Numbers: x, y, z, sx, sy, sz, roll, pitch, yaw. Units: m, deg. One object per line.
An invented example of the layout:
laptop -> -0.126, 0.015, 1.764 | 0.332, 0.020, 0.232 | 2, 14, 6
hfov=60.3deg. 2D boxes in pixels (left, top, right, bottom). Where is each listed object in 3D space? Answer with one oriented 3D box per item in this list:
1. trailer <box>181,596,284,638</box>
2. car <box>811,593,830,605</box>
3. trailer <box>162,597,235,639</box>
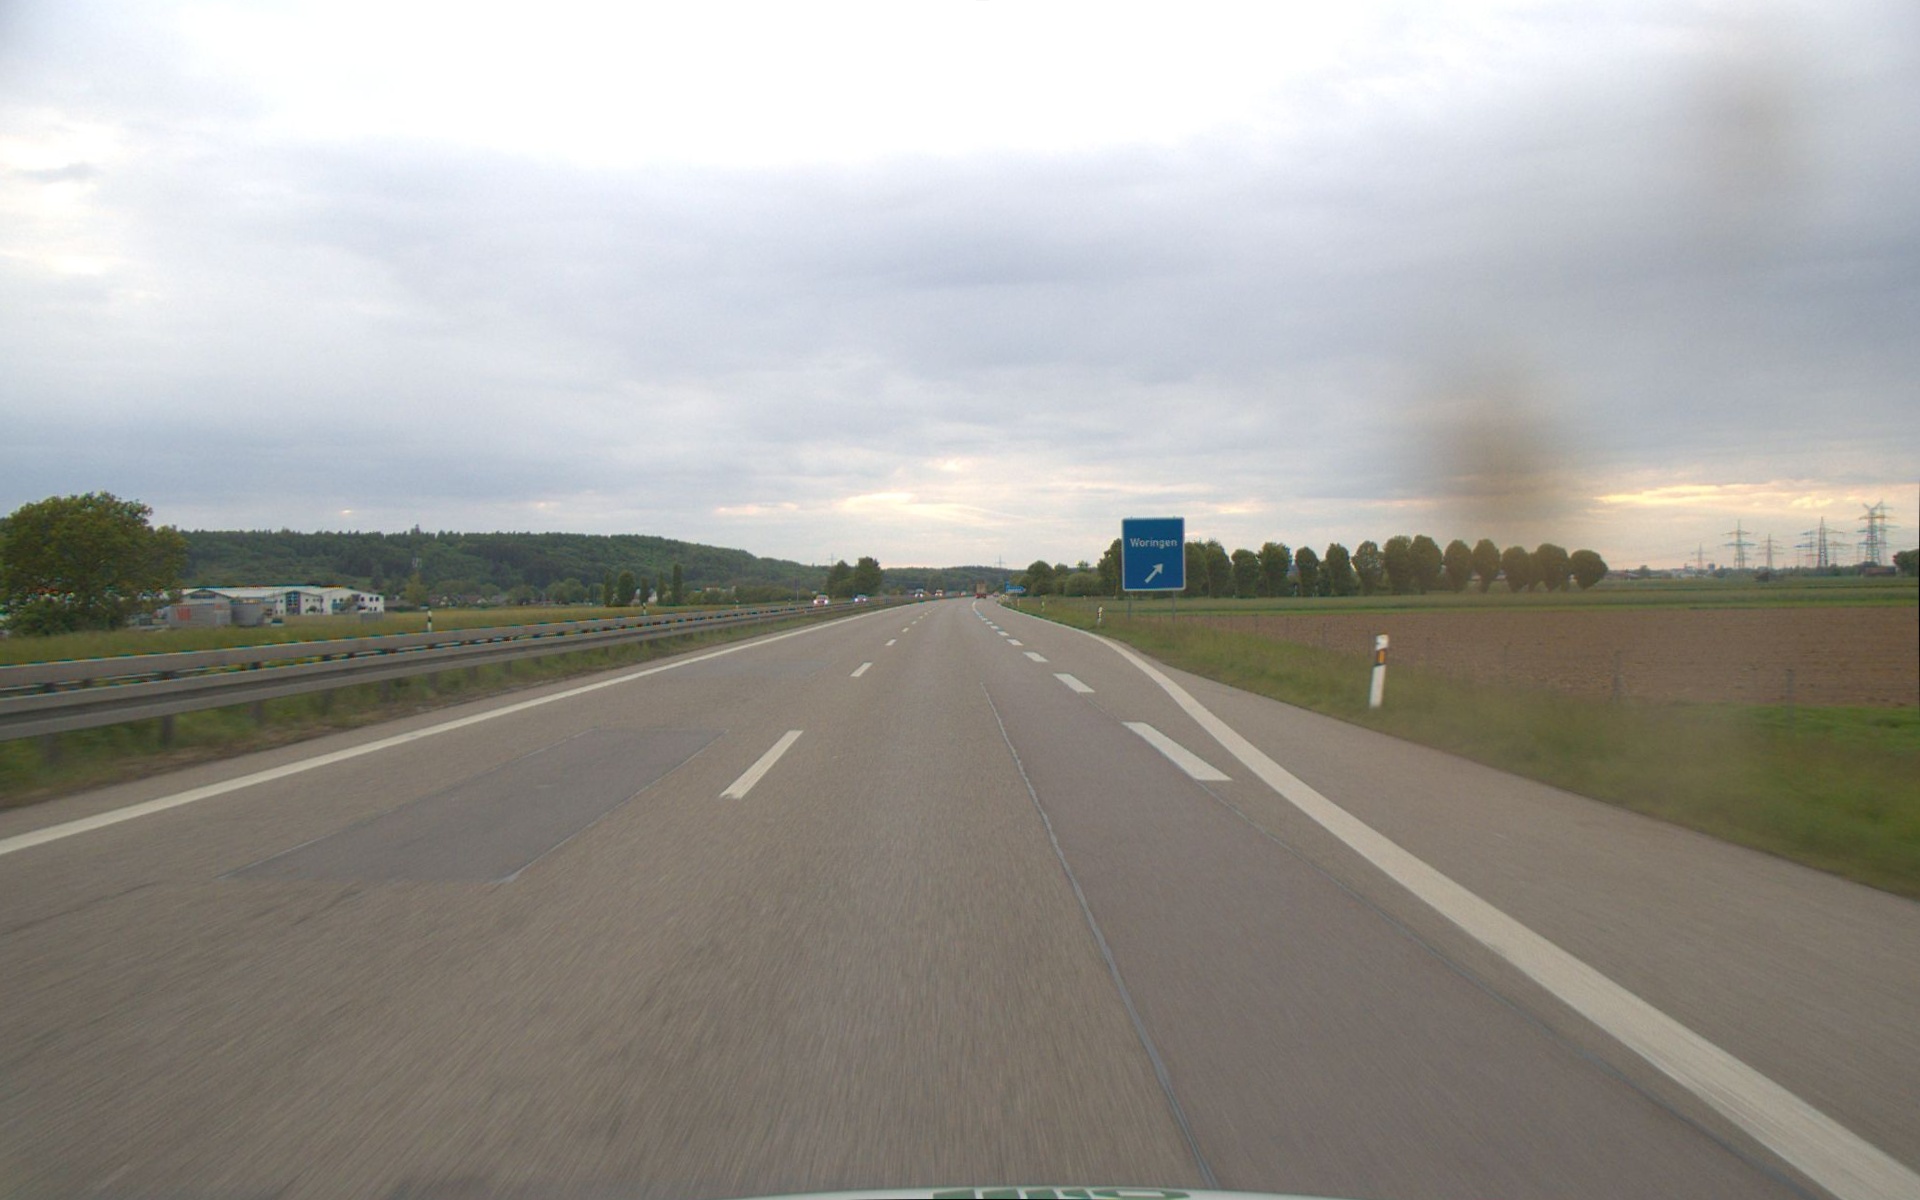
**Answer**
trailer -> -98.950, 2.283, 224.733 | 16.657, 5.225, 3.563 | -2, -1, 29
car -> -17.446, -0.102, 207.182 | 1.953, 1.506, 4.451 | 1, 0, 0
trailer -> -102.107, 2.409, 221.631 | 9.858, 5.353, 3.748 | -2, -1, 29
